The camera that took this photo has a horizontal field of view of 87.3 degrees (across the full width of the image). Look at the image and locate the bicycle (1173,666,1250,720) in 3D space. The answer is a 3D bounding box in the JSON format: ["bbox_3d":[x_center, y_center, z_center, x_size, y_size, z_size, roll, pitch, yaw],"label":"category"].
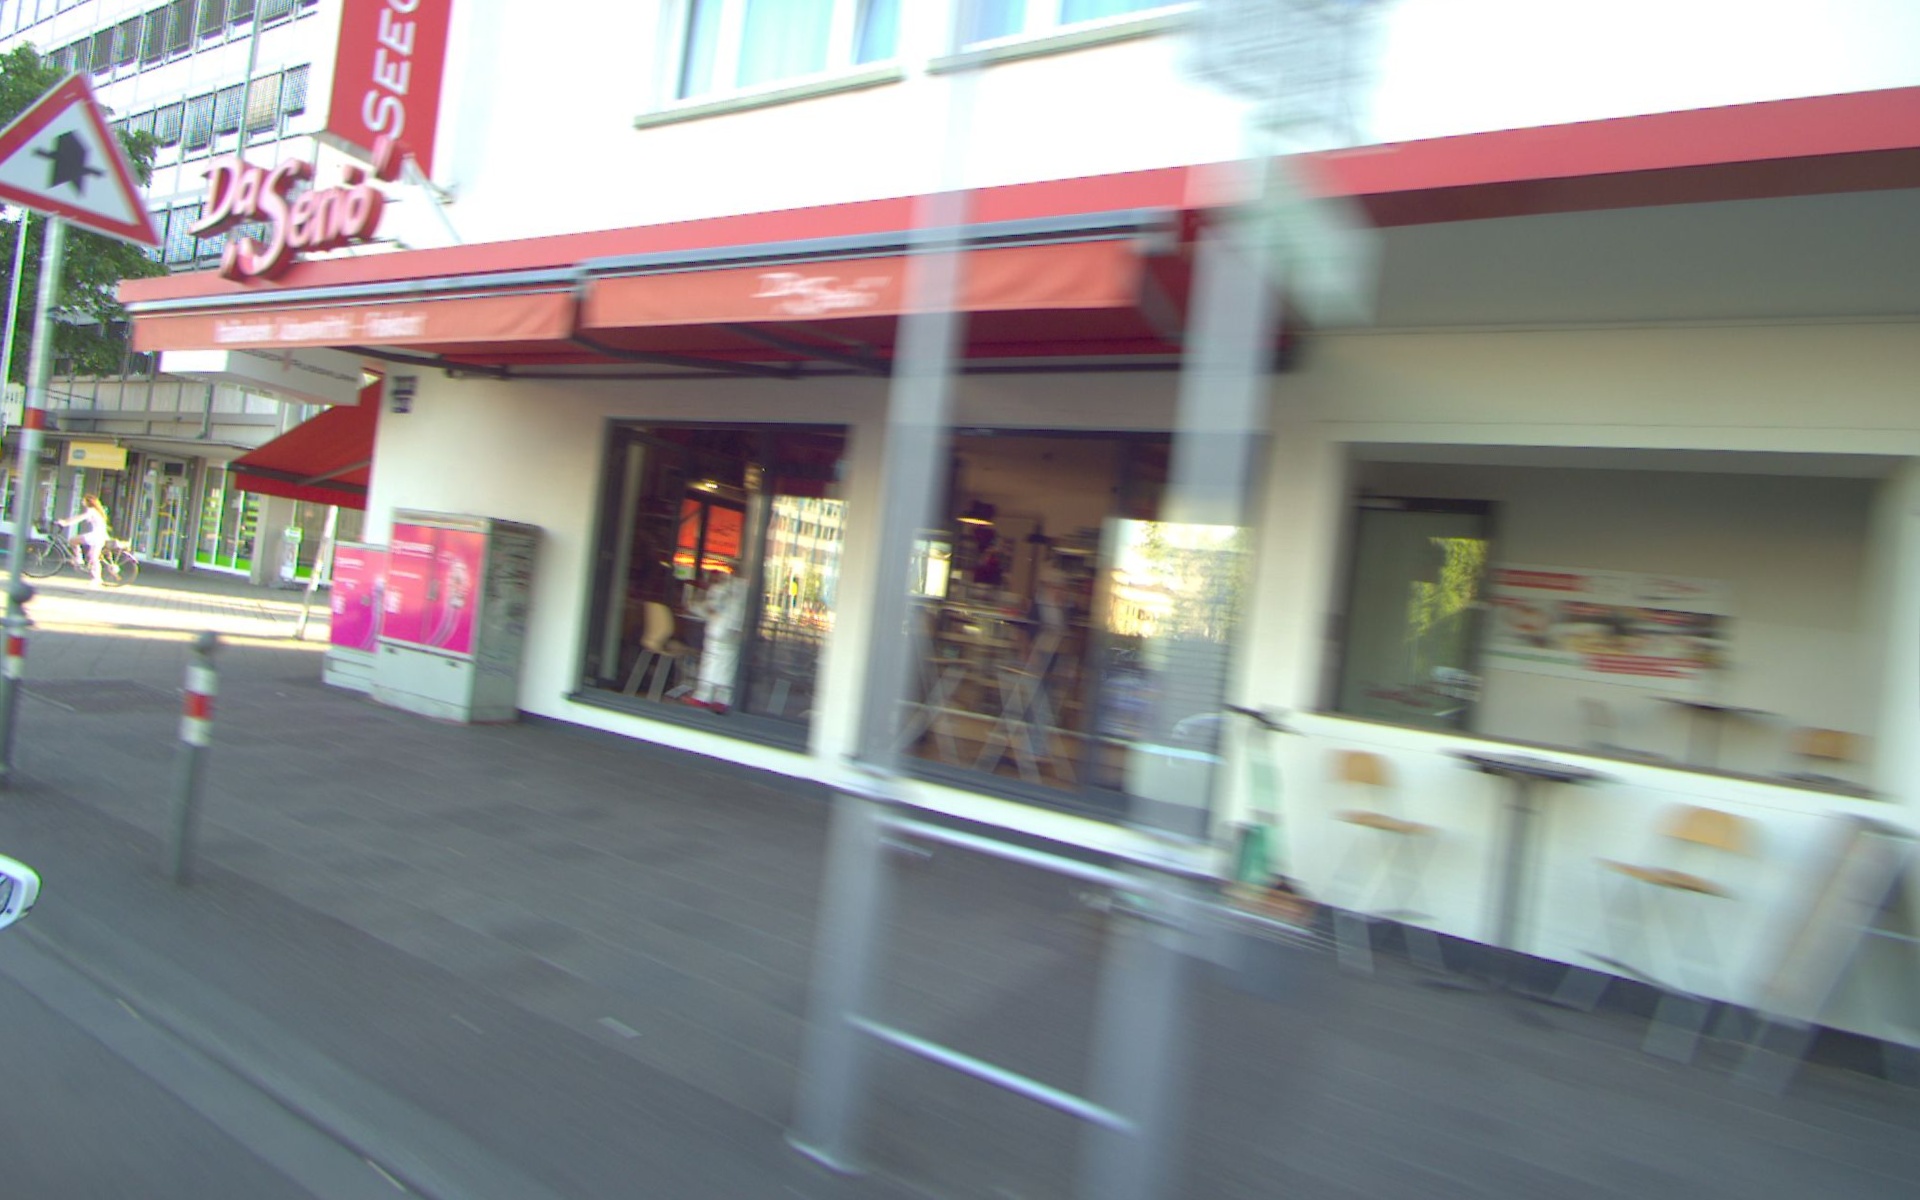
[{"bbox_3d":[7.404,2.735,29.719,0.699,1.235,2.090,8,0,-38],"label":"bicycle"}]

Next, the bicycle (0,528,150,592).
[{"bbox_3d":[-16.507,-0.738,18.816,1.997,0.891,0.832,9,-2,-38],"label":"bicycle"}]

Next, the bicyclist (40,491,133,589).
[{"bbox_3d":[-16.368,-1.113,18.886,1.106,1.642,0.832,8,0,-37],"label":"bicyclist"}]

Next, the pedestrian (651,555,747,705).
[{"bbox_3d":[-2.305,0.271,8.920,0.495,1.231,0.523,7,0,12],"label":"pedestrian"}]

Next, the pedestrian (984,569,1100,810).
[{"bbox_3d":[0.633,0.682,7.897,0.519,1.781,0.602,7,0,-15],"label":"pedestrian"}]

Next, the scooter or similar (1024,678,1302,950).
[{"bbox_3d":[1.042,1.101,5.227,1.228,1.216,0.356,8,0,-9],"label":"scooter or similar"}]

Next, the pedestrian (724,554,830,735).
[{"bbox_3d":[-1.489,0.363,8.227,0.495,1.375,0.523,7,0,18],"label":"pedestrian"}]

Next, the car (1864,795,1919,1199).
[{"bbox_3d":[3.789,1.272,0.517,4.605,1.531,1.738,7,1,30],"label":"car"}]

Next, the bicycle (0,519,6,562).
[{"bbox_3d":[-19.173,-1.172,19.293,1.767,0.982,0.466,7,0,21],"label":"bicycle"}]

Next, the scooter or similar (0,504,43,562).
[{"bbox_3d":[-22.236,-1.601,23.343,1.260,1.250,0.337,8,0,-20],"label":"scooter or similar"}]
